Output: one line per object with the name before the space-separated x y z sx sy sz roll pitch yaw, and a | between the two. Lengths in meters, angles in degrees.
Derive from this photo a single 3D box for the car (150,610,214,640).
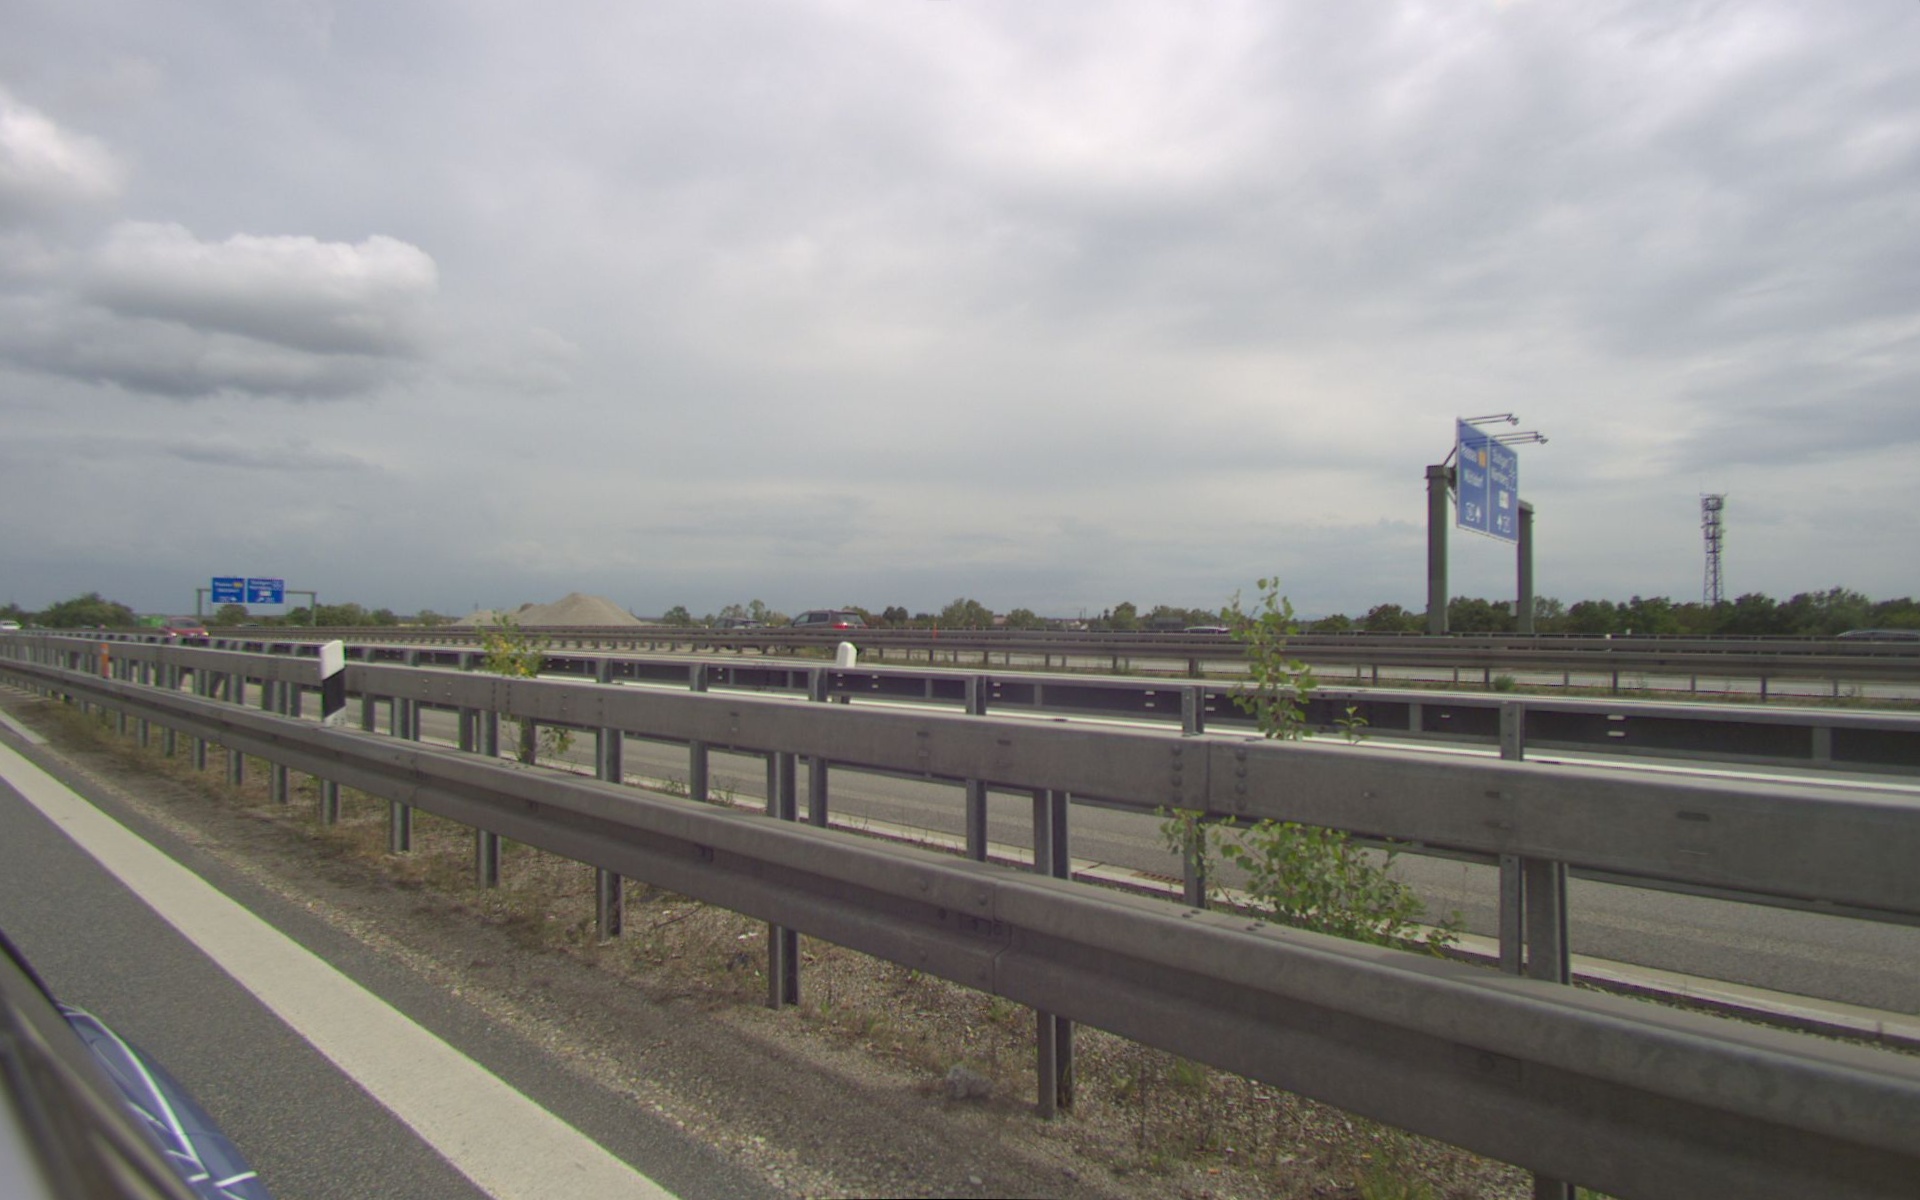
car | -41.788 1.351 54.346 4.351 1.557 1.801 -2 -1 40

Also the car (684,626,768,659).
car | -11.251 2.015 48.538 4.328 1.433 1.687 -2 -1 41

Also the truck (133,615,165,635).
truck | -155.341 4.890 193.882 10.431 3.662 2.982 -2 -1 41

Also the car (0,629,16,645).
car | -124.601 4.806 131.854 4.464 2.029 1.973 -2 -1 42

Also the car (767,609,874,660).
car | -5.329 1.301 38.330 4.000 1.807 1.889 -2 -1 43
